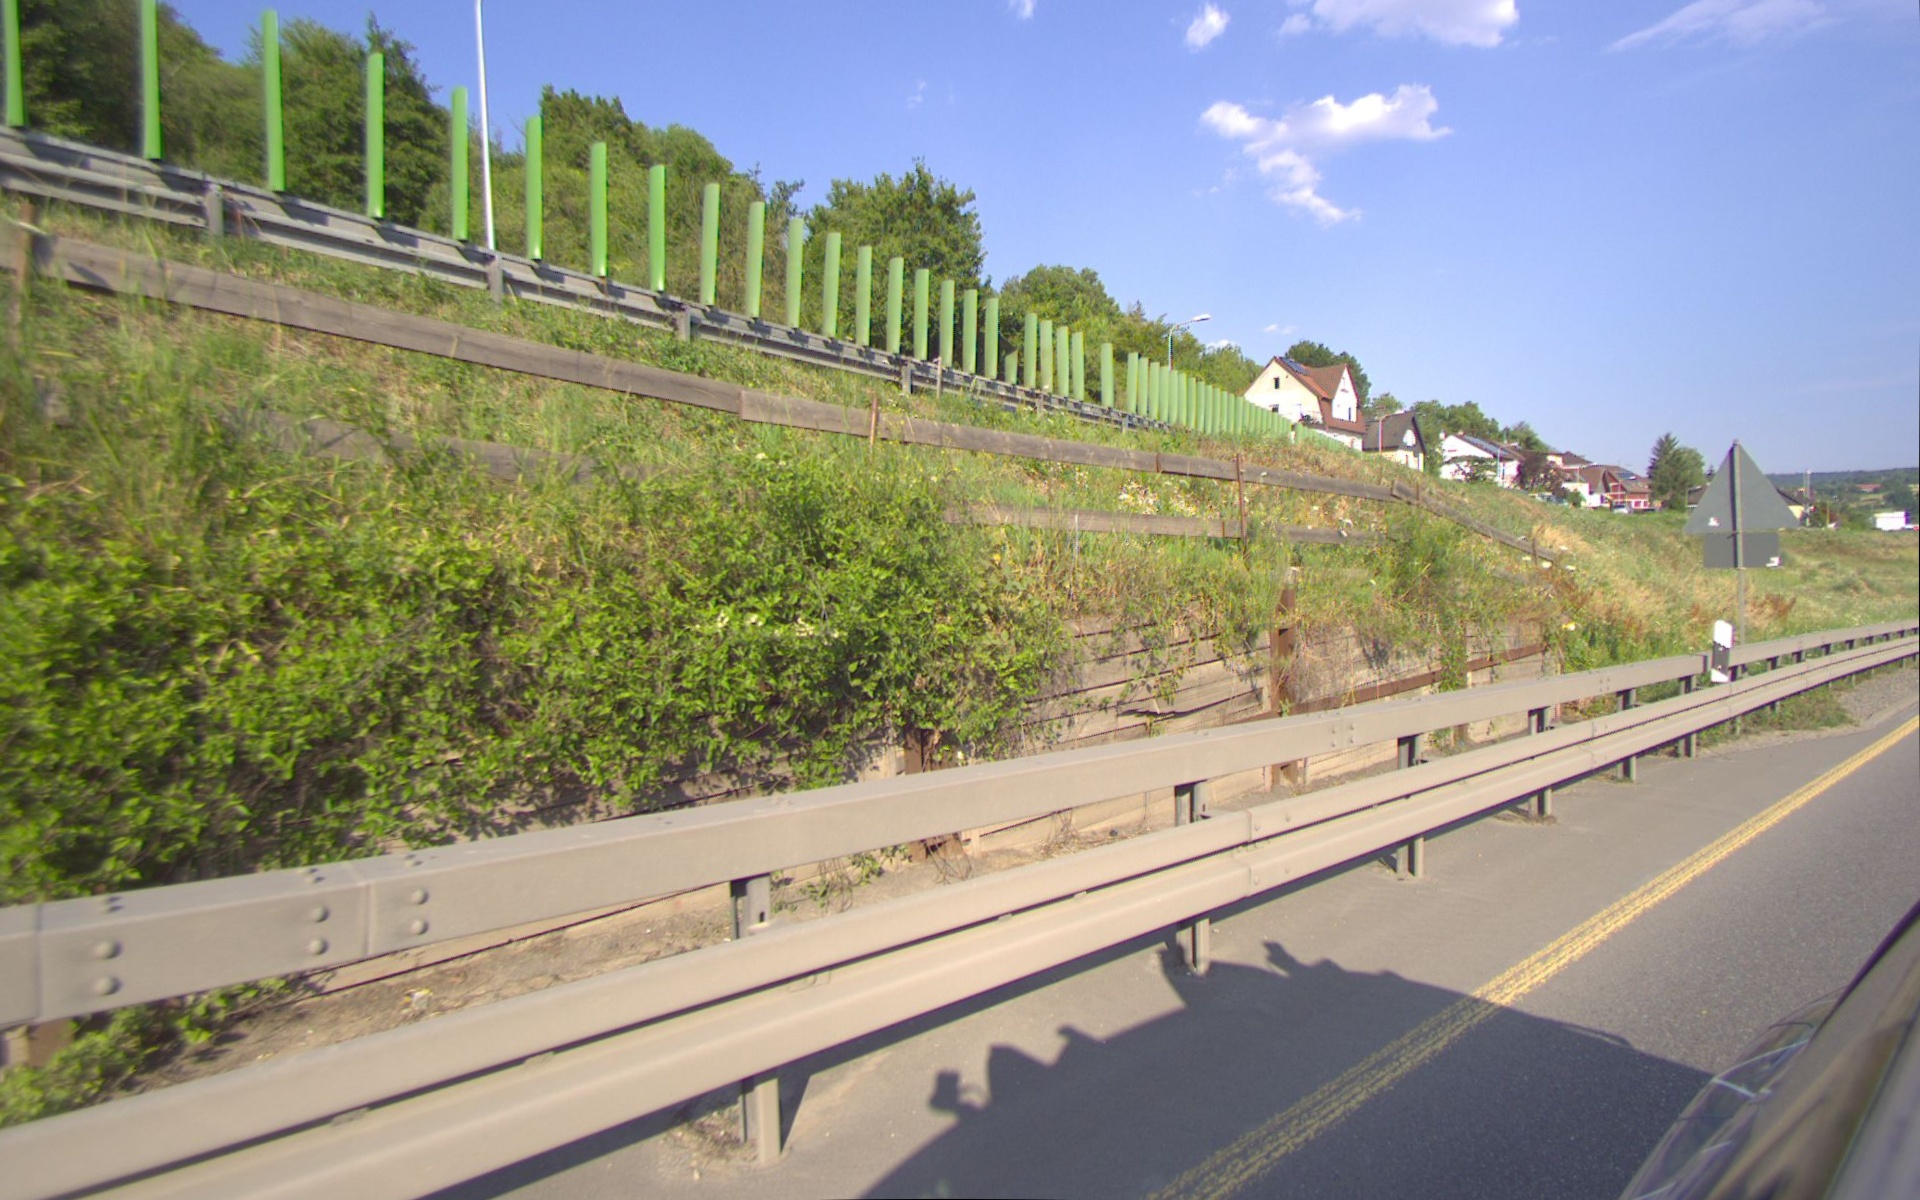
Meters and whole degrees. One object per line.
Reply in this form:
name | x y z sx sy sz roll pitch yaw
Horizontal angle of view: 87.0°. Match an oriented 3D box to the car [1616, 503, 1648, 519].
car | 71.385 -9.467 107.472 3.933 1.460 1.995 -2 1 -43
